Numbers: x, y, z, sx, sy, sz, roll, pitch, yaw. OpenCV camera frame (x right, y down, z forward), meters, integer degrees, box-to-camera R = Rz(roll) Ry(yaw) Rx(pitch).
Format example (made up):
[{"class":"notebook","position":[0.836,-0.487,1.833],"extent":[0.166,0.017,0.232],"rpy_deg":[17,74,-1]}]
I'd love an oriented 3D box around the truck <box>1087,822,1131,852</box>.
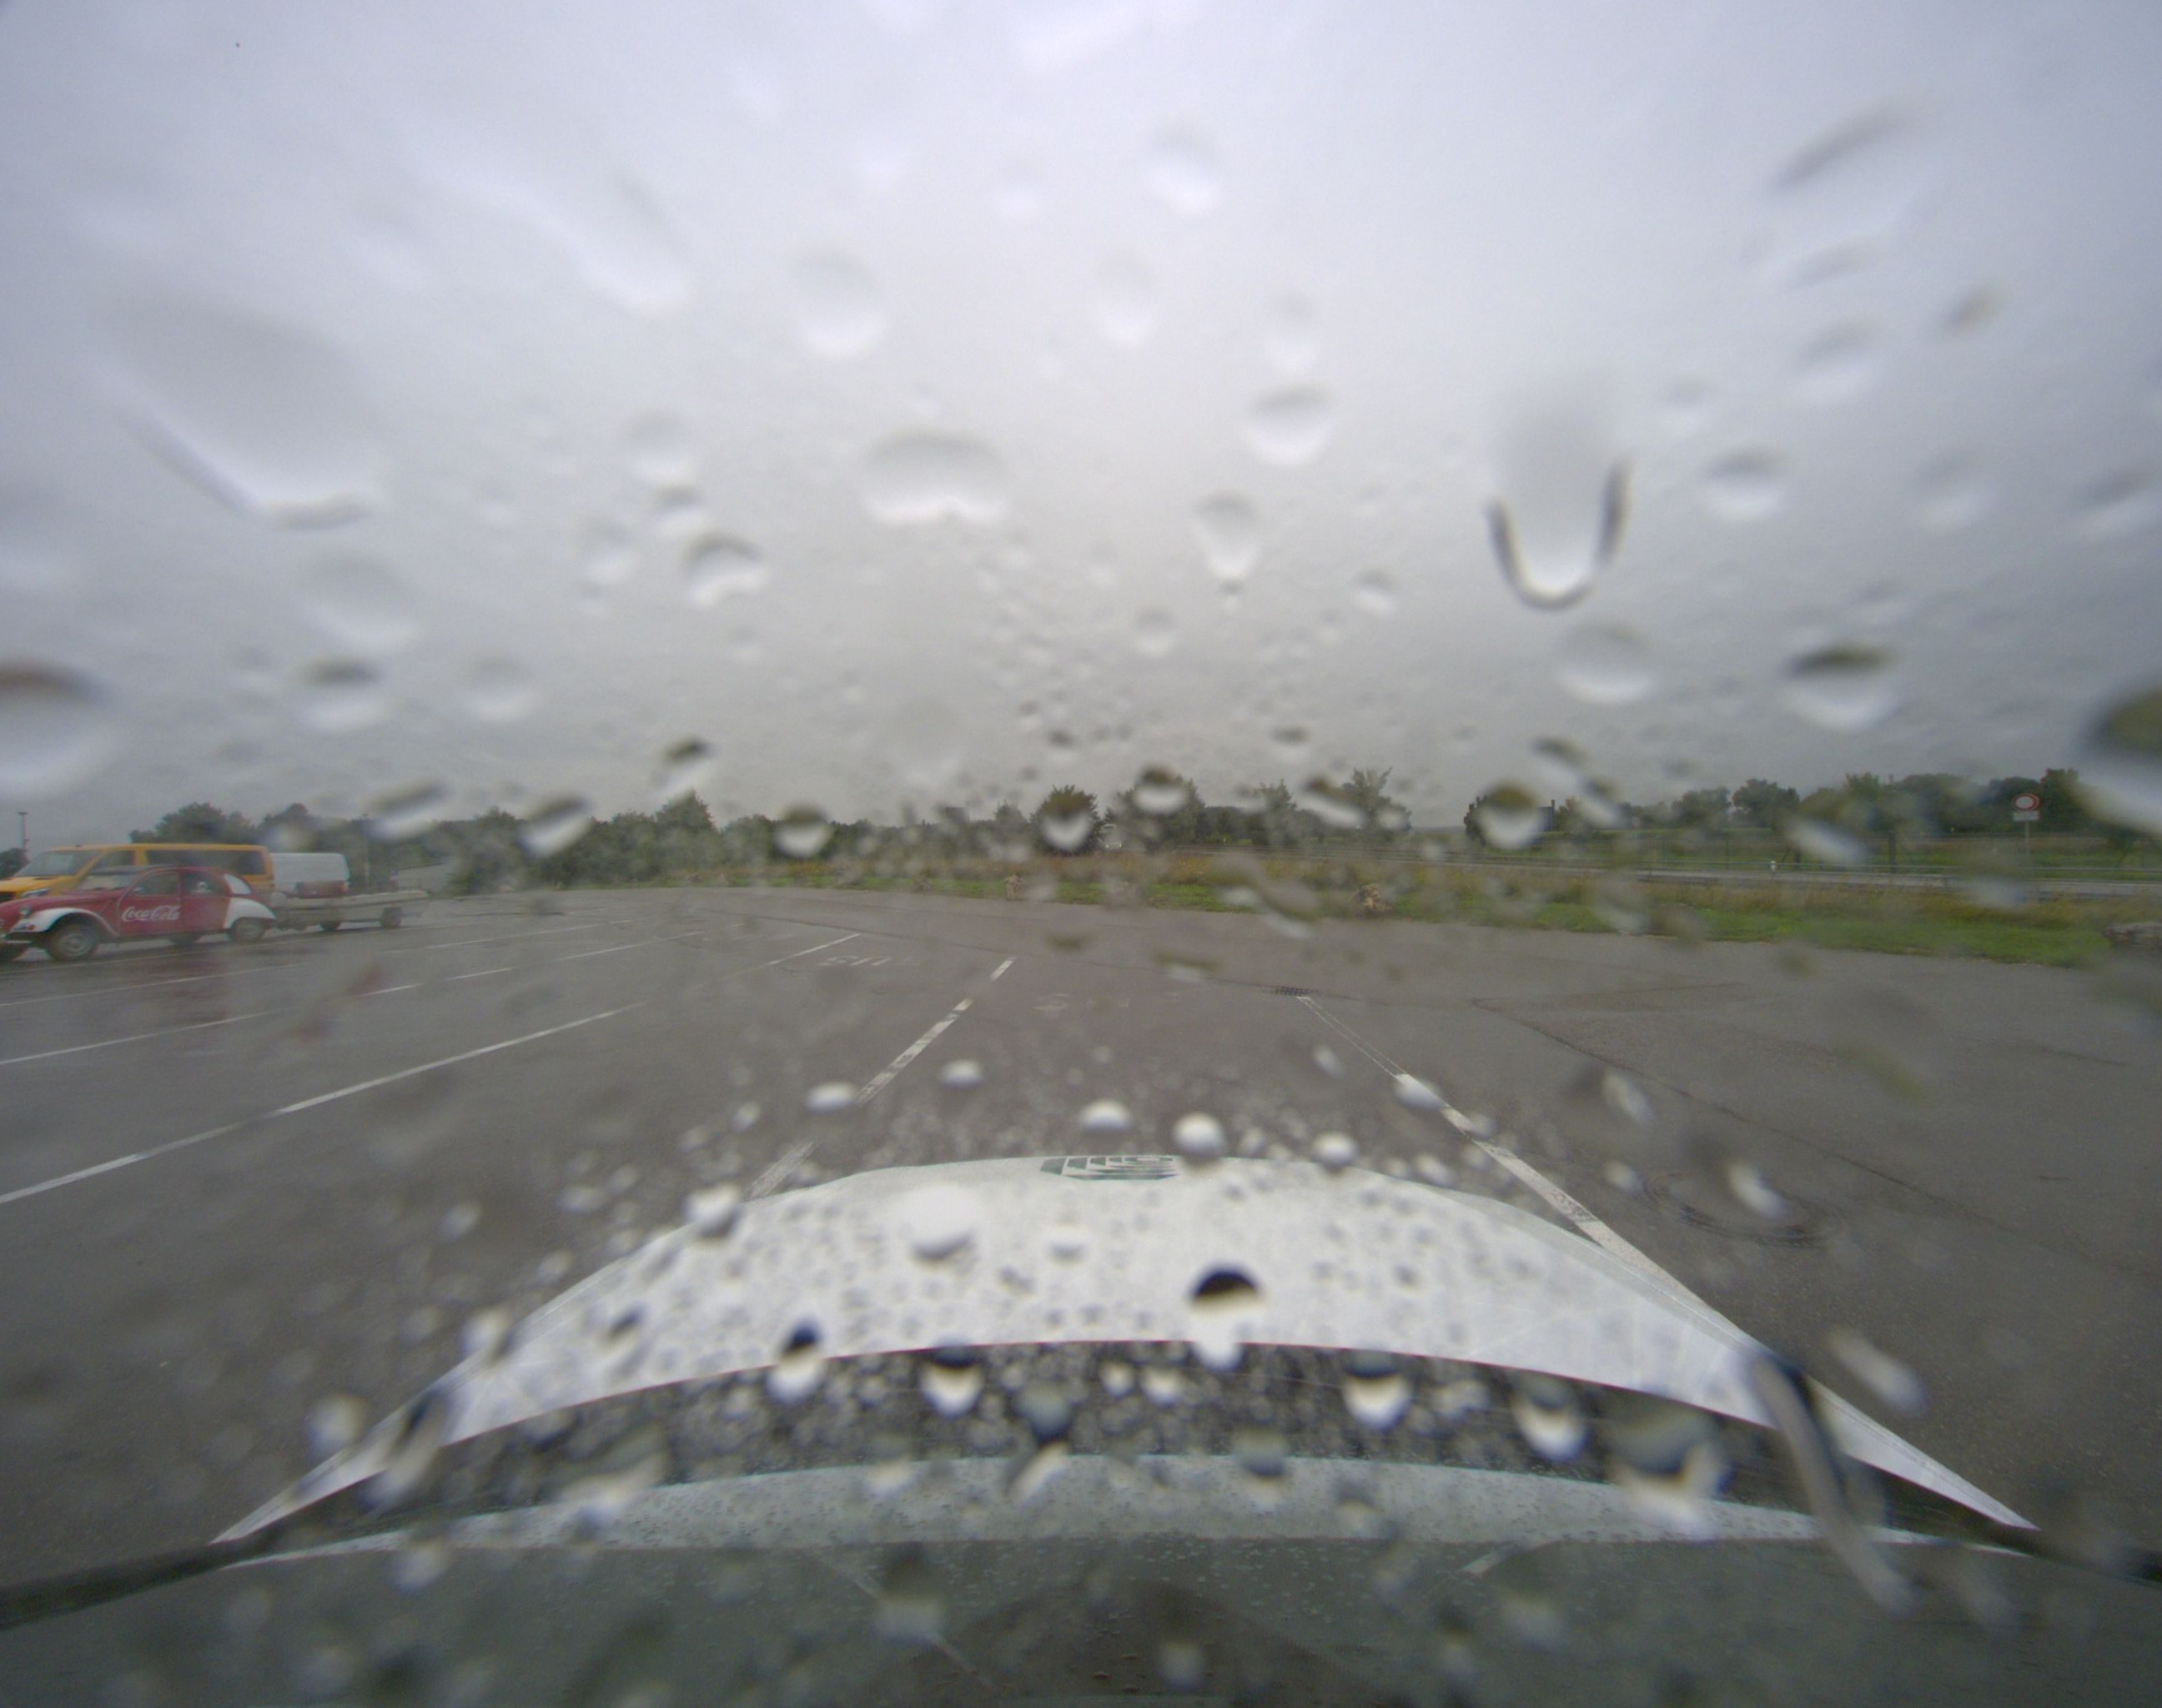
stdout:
[{"class":"truck","position":[3.180,-1.955,96.046],"extent":[2.745,3.391,8.022],"rpy_deg":[-1,0,-16]}]

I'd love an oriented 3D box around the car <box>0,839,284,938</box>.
[{"class":"car","position":[-26.657,0.891,23.064],"extent":[1.986,2.380,6.028],"rpy_deg":[-4,0,2]}]

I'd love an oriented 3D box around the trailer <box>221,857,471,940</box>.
[{"class":"trailer","position":[-16.162,0.898,18.227],"extent":[1.687,1.532,4.006],"rpy_deg":[-2,0,5]}]

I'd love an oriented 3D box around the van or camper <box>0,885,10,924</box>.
[{"class":"van or camper","position":[-62.351,2.928,46.011],"extent":[3.948,2.166,2.013],"rpy_deg":[-2,0,34]}]

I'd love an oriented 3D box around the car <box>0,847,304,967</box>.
[{"class":"car","position":[-16.535,0.819,14.224],"extent":[1.813,1.777,4.006],"rpy_deg":[-2,0,5]}]
